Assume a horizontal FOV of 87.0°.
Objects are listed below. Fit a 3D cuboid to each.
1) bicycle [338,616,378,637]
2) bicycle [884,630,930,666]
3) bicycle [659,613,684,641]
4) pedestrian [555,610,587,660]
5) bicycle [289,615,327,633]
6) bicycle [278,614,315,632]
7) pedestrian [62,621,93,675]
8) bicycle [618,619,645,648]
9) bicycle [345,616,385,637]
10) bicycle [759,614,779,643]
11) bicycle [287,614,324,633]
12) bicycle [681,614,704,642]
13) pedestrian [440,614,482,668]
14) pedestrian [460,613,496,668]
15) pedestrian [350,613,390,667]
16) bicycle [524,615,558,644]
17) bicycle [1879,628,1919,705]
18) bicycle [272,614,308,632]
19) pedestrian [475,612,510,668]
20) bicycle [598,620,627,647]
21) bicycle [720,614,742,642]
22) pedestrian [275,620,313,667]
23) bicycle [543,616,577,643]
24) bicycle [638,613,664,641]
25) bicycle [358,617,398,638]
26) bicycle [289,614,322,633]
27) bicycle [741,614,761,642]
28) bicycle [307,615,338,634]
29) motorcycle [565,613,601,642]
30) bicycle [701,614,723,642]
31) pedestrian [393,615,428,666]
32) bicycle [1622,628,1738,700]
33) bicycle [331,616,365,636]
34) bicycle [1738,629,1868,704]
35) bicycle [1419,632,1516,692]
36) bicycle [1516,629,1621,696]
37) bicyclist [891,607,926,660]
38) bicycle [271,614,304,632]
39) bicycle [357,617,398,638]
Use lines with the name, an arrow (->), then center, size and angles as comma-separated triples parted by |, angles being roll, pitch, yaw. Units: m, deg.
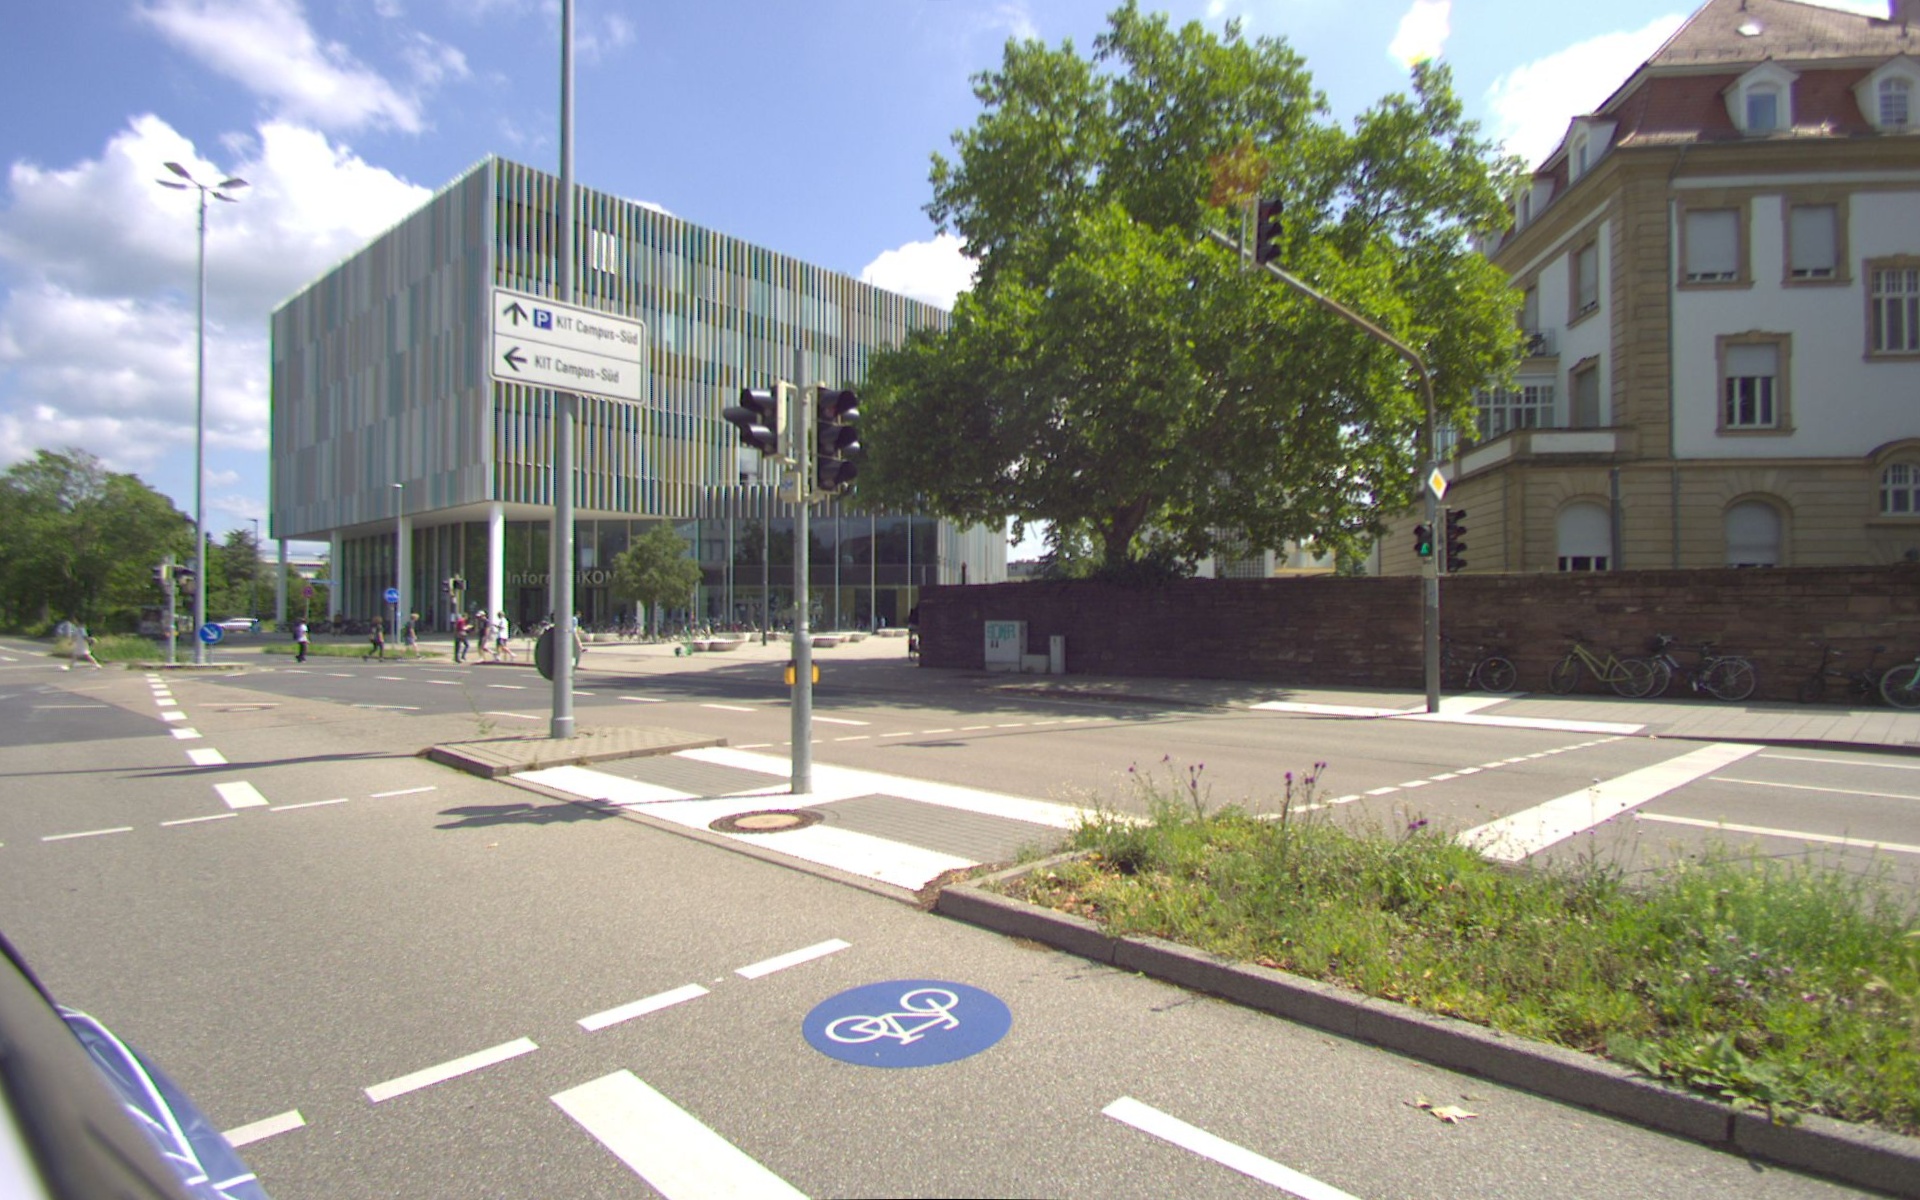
bicycle -> -44.326, 1.952, 74.509 | 0.621, 1.506, 2.476 | -1, -1, 45
bicycle -> -1.671, 1.510, 32.235 | 0.811, 1.071, 1.883 | -1, 0, 19
bicycle -> -16.717, 1.569, 58.743 | 0.984, 1.564, 3.421 | 0, -1, -9
pedestrian -> -15.557, 1.370, 40.456 | 1.090, 1.940, 0.975 | 0, -1, -26
bicycle -> -53.204, 1.950, 82.595 | 0.621, 1.506, 2.476 | -1, -1, 45
bicycle -> -55.940, 1.950, 85.344 | 0.621, 1.506, 2.476 | -1, -1, 45
pedestrian -> -25.528, 1.374, 29.278 | 0.414, 1.515, 0.586 | -1, -1, 26
bicycle -> -19.099, 1.927, 58.871 | 0.984, 1.564, 3.421 | 0, -1, -9
bicycle -> -44.455, 1.956, 75.667 | 0.621, 1.506, 2.476 | -1, -1, 45
bicycle -> -10.810, 1.578, 57.373 | 0.984, 1.564, 3.421 | 0, -1, -9
bicycle -> -53.990, 1.934, 83.501 | 0.621, 1.506, 2.476 | -1, -1, 45
bicycle -> -15.411, 1.572, 58.386 | 0.984, 1.564, 3.421 | 0, -1, -9
pedestrian -> -18.404, 1.502, 37.342 | 0.971, 1.940, 1.094 | -1, -1, 41
pedestrian -> -17.493, 1.450, 36.710 | 1.090, 1.940, 0.975 | 0, -1, -31
pedestrian -> -21.883, 1.468, 37.543 | 0.965, 1.940, 0.872 | -1, -1, 22
bicycle -> -24.299, 1.675, 58.814 | 0.798, 1.656, 3.418 | 0, -1, -4
bicycle -> 15.058, 1.010, 15.351 | 1.583, 1.161, 0.399 | -1, -1, 22
bicycle -> -57.201, 1.948, 86.390 | 0.621, 1.506, 2.476 | -1, -1, 45
pedestrian -> -16.542, 1.410, 35.856 | 1.090, 1.940, 0.975 | 0, -1, -23
bicycle -> -20.353, 1.936, 59.287 | 1.035, 1.564, 3.421 | 0, -1, -9
bicycle -> -13.188, 1.579, 58.313 | 0.984, 1.564, 3.421 | 0, -1, -9
pedestrian -> -23.906, 1.559, 36.329 | 0.970, 1.641, 0.868 | -1, -1, 37
bicycle -> -23.251, 1.680, 58.841 | 0.920, 1.505, 2.688 | 0, 0, -1
bicycle -> -17.941, 1.562, 58.808 | 0.984, 1.564, 3.421 | 0, -1, -9
bicycle -> -42.014, 1.955, 73.039 | 2.471, 1.506, 0.731 | 0, -1, -35
bicycle -> -54.544, 1.951, 84.348 | 0.621, 1.506, 2.297 | -1, -1, 45
bicycle -> -12.074, 1.586, 58.458 | 0.984, 1.564, 3.421 | 0, -1, -9
bicycle -> -51.093, 1.952, 81.087 | 0.621, 1.506, 2.042 | -1, -1, 45
motorcycle -> -21.911, 1.576, 58.858 | 0.958, 1.652, 3.298 | 0, -1, -1
bicycle -> -14.293, 1.576, 58.436 | 0.984, 1.564, 3.421 | 0, -1, -9
pedestrian -> -21.402, 1.546, 39.407 | 0.969, 1.940, 0.869 | -1, -1, 34
bicycle -> 12.374, 1.079, 17.429 | 1.591, 1.161, 0.615 | -1, -1, 37
bicycle -> -46.426, 1.953, 76.793 | 0.621, 1.506, 2.169 | -1, -1, 45
bicycle -> 13.657, 1.053, 16.439 | 1.593, 1.161, 0.408 | -1, -1, 40
bicycle -> 9.749, 1.172, 19.456 | 1.591, 1.107, 0.566 | -1, -1, 37
bicycle -> 11.065, 1.112, 18.422 | 1.591, 1.161, 0.494 | -1, -1, 37
bicyclist -> -1.636, 1.056, 32.311 | 0.779, 1.680, 1.103 | -1, -1, 18
bicycle -> -58.051, 1.949, 87.362 | 0.657, 1.506, 2.270 | -1, -1, 45
bicycle -> -41.495, 1.955, 72.129 | 0.621, 1.506, 2.417 | -1, -1, 45
